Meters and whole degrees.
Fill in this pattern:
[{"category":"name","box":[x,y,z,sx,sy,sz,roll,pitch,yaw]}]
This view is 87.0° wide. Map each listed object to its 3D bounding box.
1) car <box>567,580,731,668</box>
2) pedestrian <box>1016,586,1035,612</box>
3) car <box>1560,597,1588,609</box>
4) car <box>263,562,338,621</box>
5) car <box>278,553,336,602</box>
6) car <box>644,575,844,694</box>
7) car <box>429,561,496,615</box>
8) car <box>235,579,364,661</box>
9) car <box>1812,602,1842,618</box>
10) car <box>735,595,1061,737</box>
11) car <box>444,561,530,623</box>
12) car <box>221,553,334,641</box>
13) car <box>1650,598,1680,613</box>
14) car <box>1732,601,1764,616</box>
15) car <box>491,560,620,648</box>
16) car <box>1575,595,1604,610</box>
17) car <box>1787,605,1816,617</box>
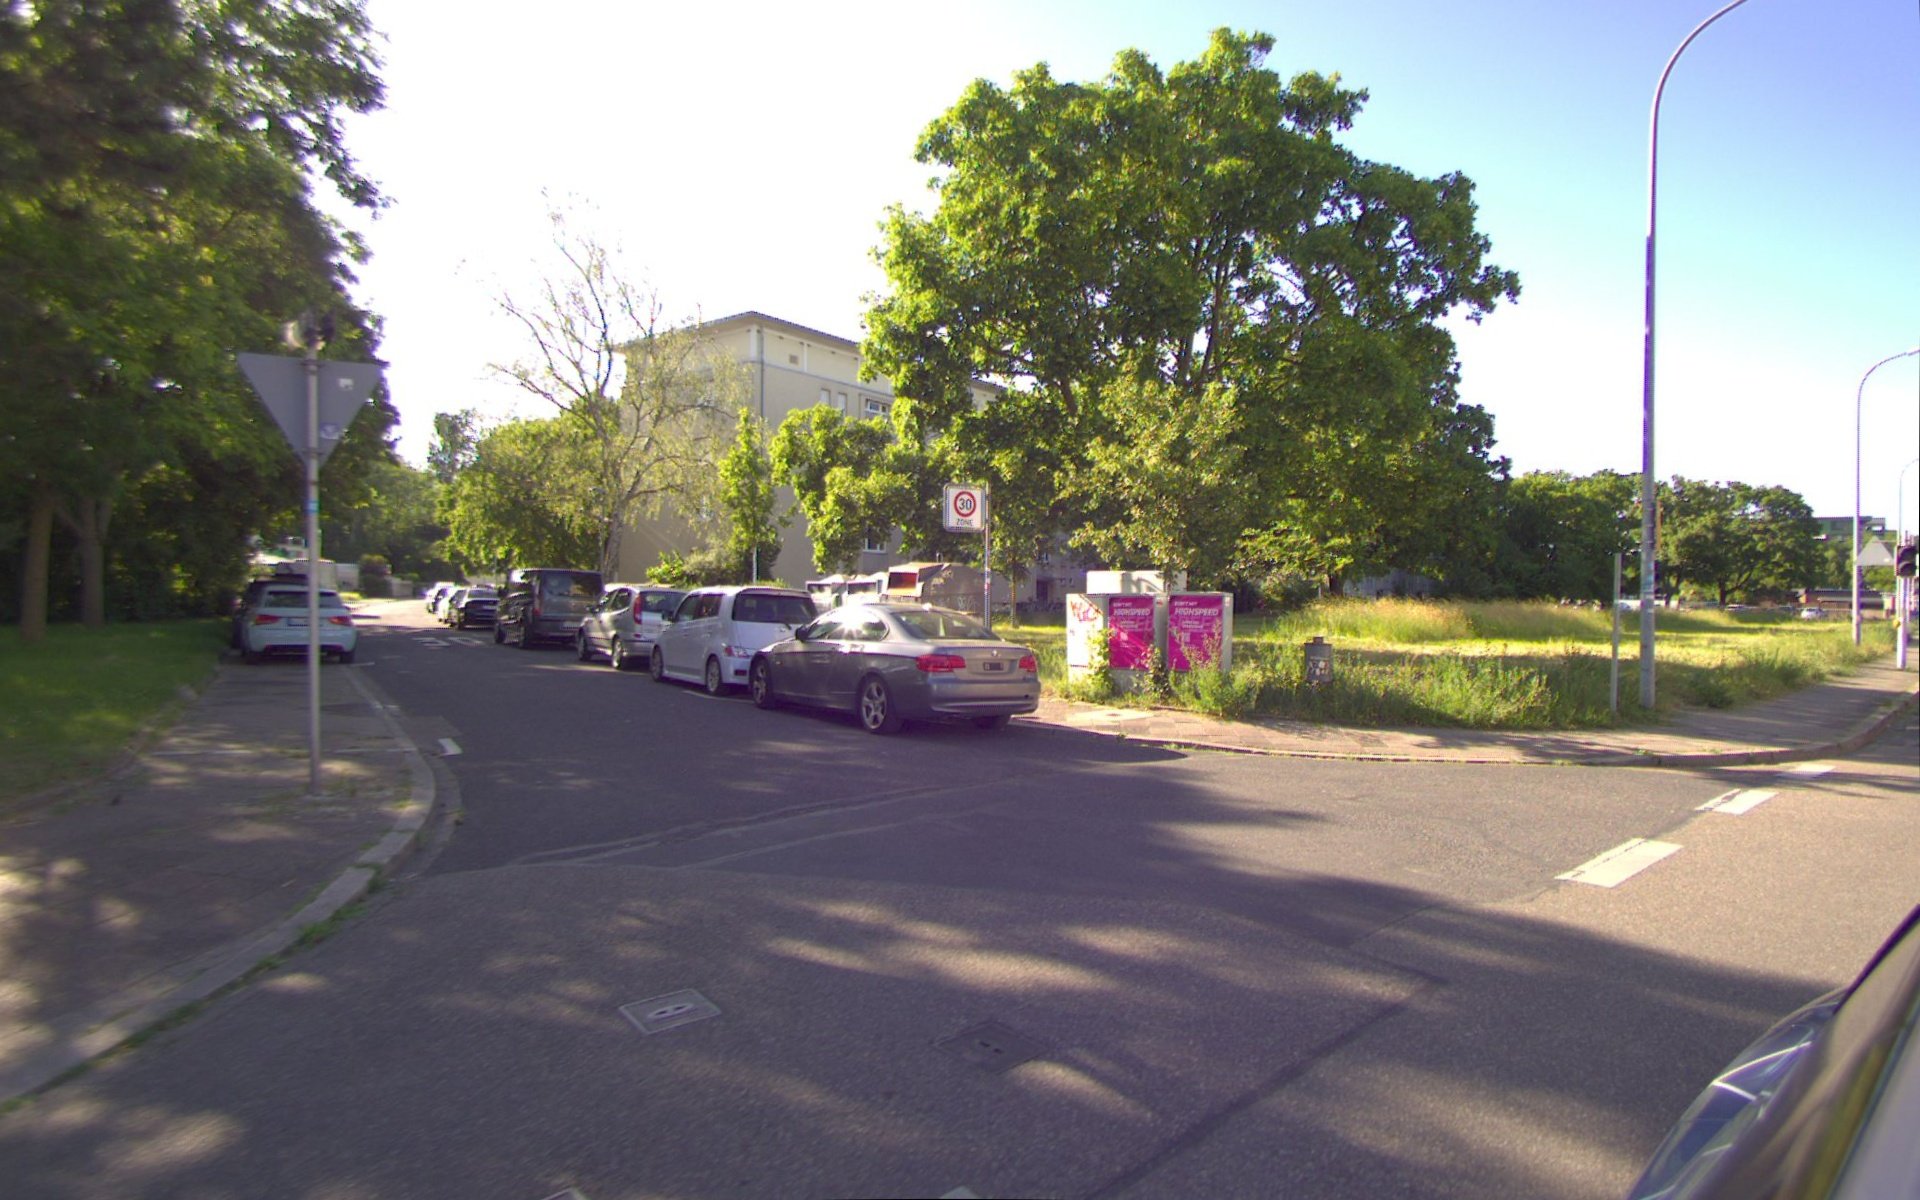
[{"category":"car","box":[-6.302,0.429,20.205,1.935,1.561,4.116,2,0,-35]},{"category":"pedestrian","box":[3.694,-0.054,56.867,0.752,1.475,0.758,1,0,34]},{"category":"car","box":[89.240,0.465,147.123,3.921,1.581,1.959,1,1,-32]},{"category":"car","box":[-21.919,-0.302,33.695,1.961,1.830,4.471,1,1,-33]},{"category":"car","box":[-31.923,-1.118,49.616,2.222,2.290,5.083,0,1,-31]},{"category":"car","box":[-3.444,0.444,15.663,1.793,1.598,3.698,1,0,-34]},{"category":"car","box":[-20.029,-0.480,40.670,2.122,2.037,4.524,1,1,-29]},{"category":"car","box":[-12.807,0.338,19.521,1.754,1.415,3.876,3,-1,-37]},{"category":"car","box":[103.768,1.166,121.146,3.926,1.883,1.956,1,1,-38]},{"category":"car","box":[-0.941,0.653,12.021,1.713,1.354,4.438,2,-1,-36]},{"category":"car","box":[-16.675,-0.294,35.565,2.123,2.037,4.521,1,1,-33]},{"category":"car","box":[-15.928,-0.074,23.800,1.960,1.875,3.882,1,0,-31]},{"category":"car","box":[95.086,0.742,136.513,3.922,1.795,1.959,-1,2,-32]},{"category":"car","box":[99.229,1.014,127.404,3.921,1.795,1.863,1,1,-32]},{"category":"car","box":[-10.528,0.058,26.141,2.229,2.037,4.521,1,1,-33]},{"category":"car","box":[90.157,0.326,144.954,3.923,2.039,2.001,1,1,-34]},{"category":"car","box":[102.345,1.327,123.069,3.924,1.340,1.782,1,1,-35]}]
